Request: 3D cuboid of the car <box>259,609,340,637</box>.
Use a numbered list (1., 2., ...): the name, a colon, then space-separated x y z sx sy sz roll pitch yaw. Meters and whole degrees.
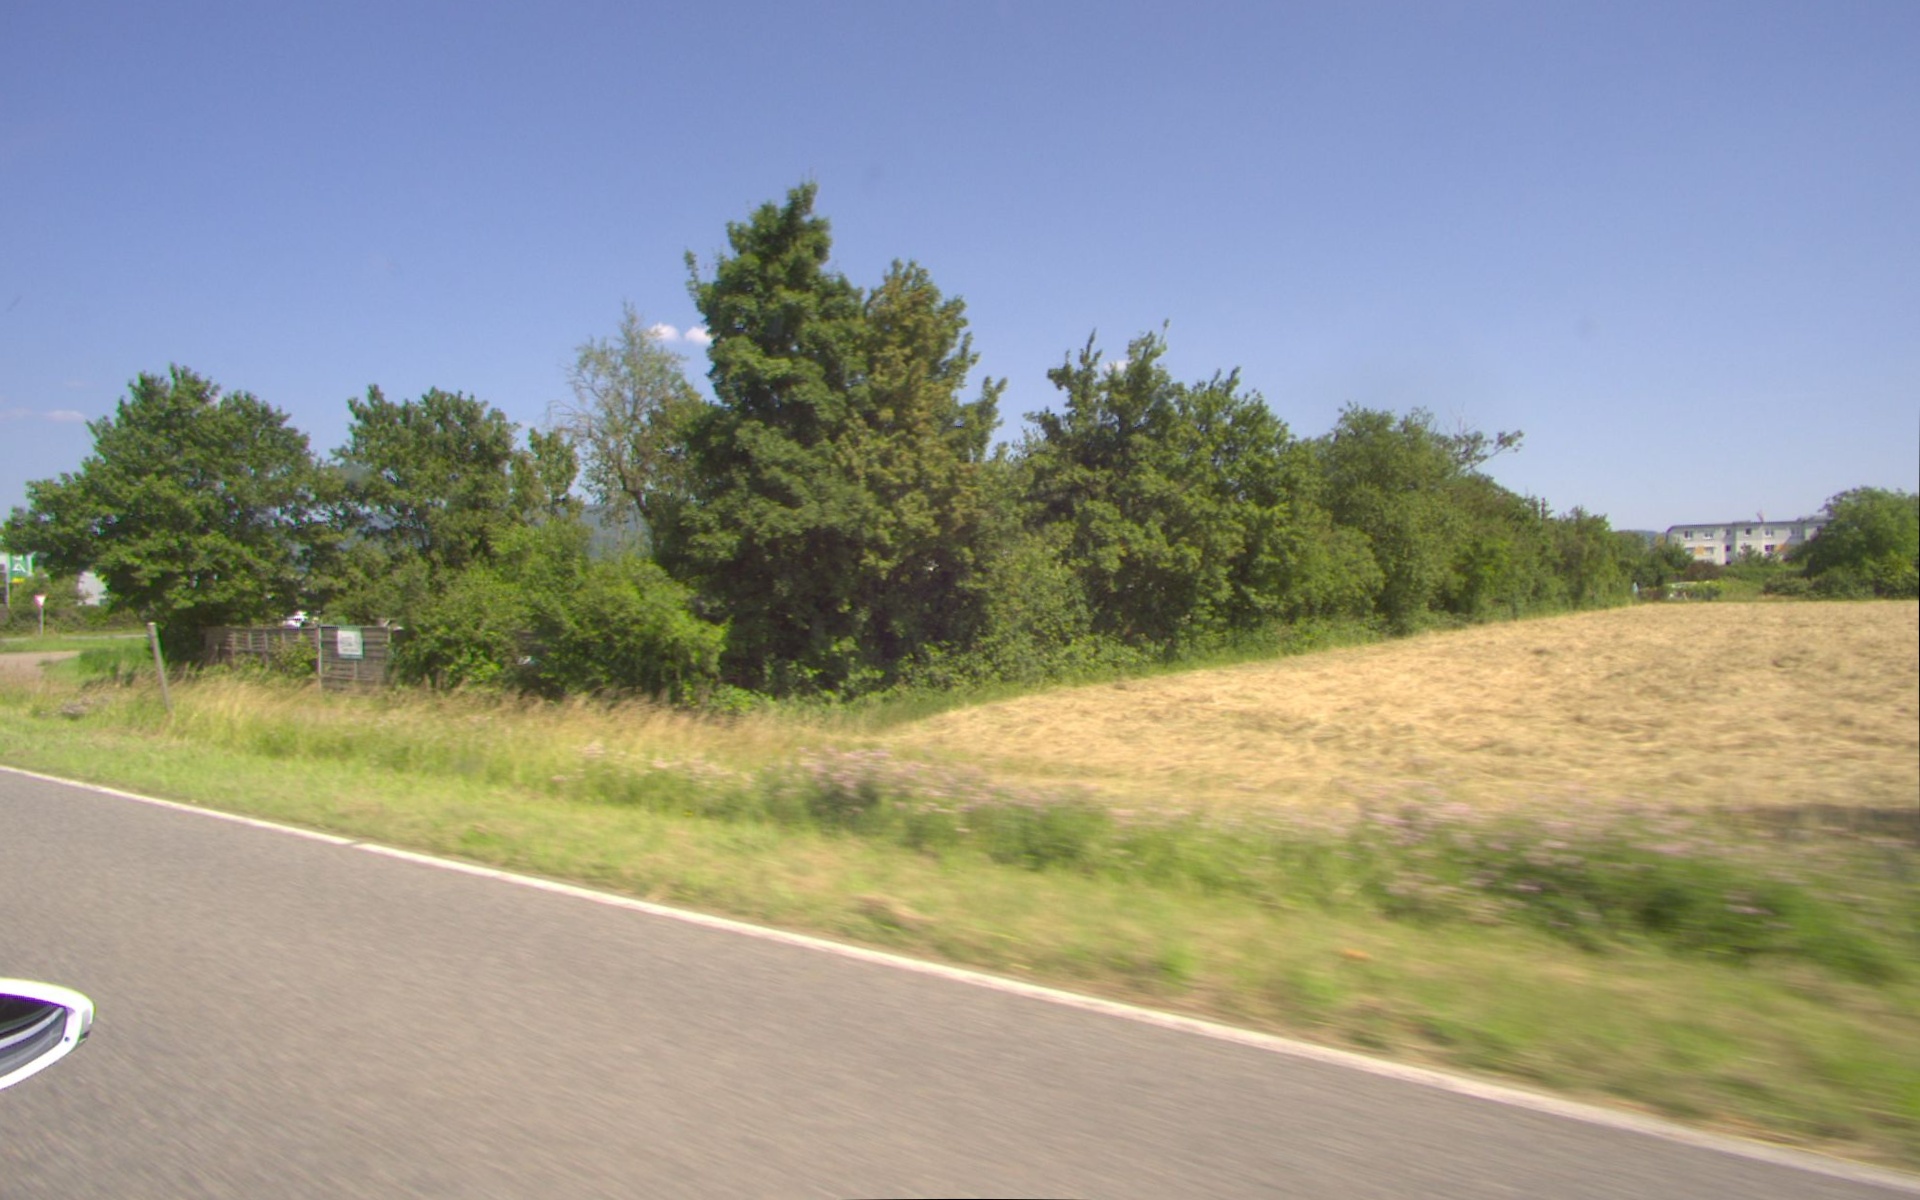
1. car: -47.655 1.646 72.307 1.859 1.893 4.476 0 0 34
